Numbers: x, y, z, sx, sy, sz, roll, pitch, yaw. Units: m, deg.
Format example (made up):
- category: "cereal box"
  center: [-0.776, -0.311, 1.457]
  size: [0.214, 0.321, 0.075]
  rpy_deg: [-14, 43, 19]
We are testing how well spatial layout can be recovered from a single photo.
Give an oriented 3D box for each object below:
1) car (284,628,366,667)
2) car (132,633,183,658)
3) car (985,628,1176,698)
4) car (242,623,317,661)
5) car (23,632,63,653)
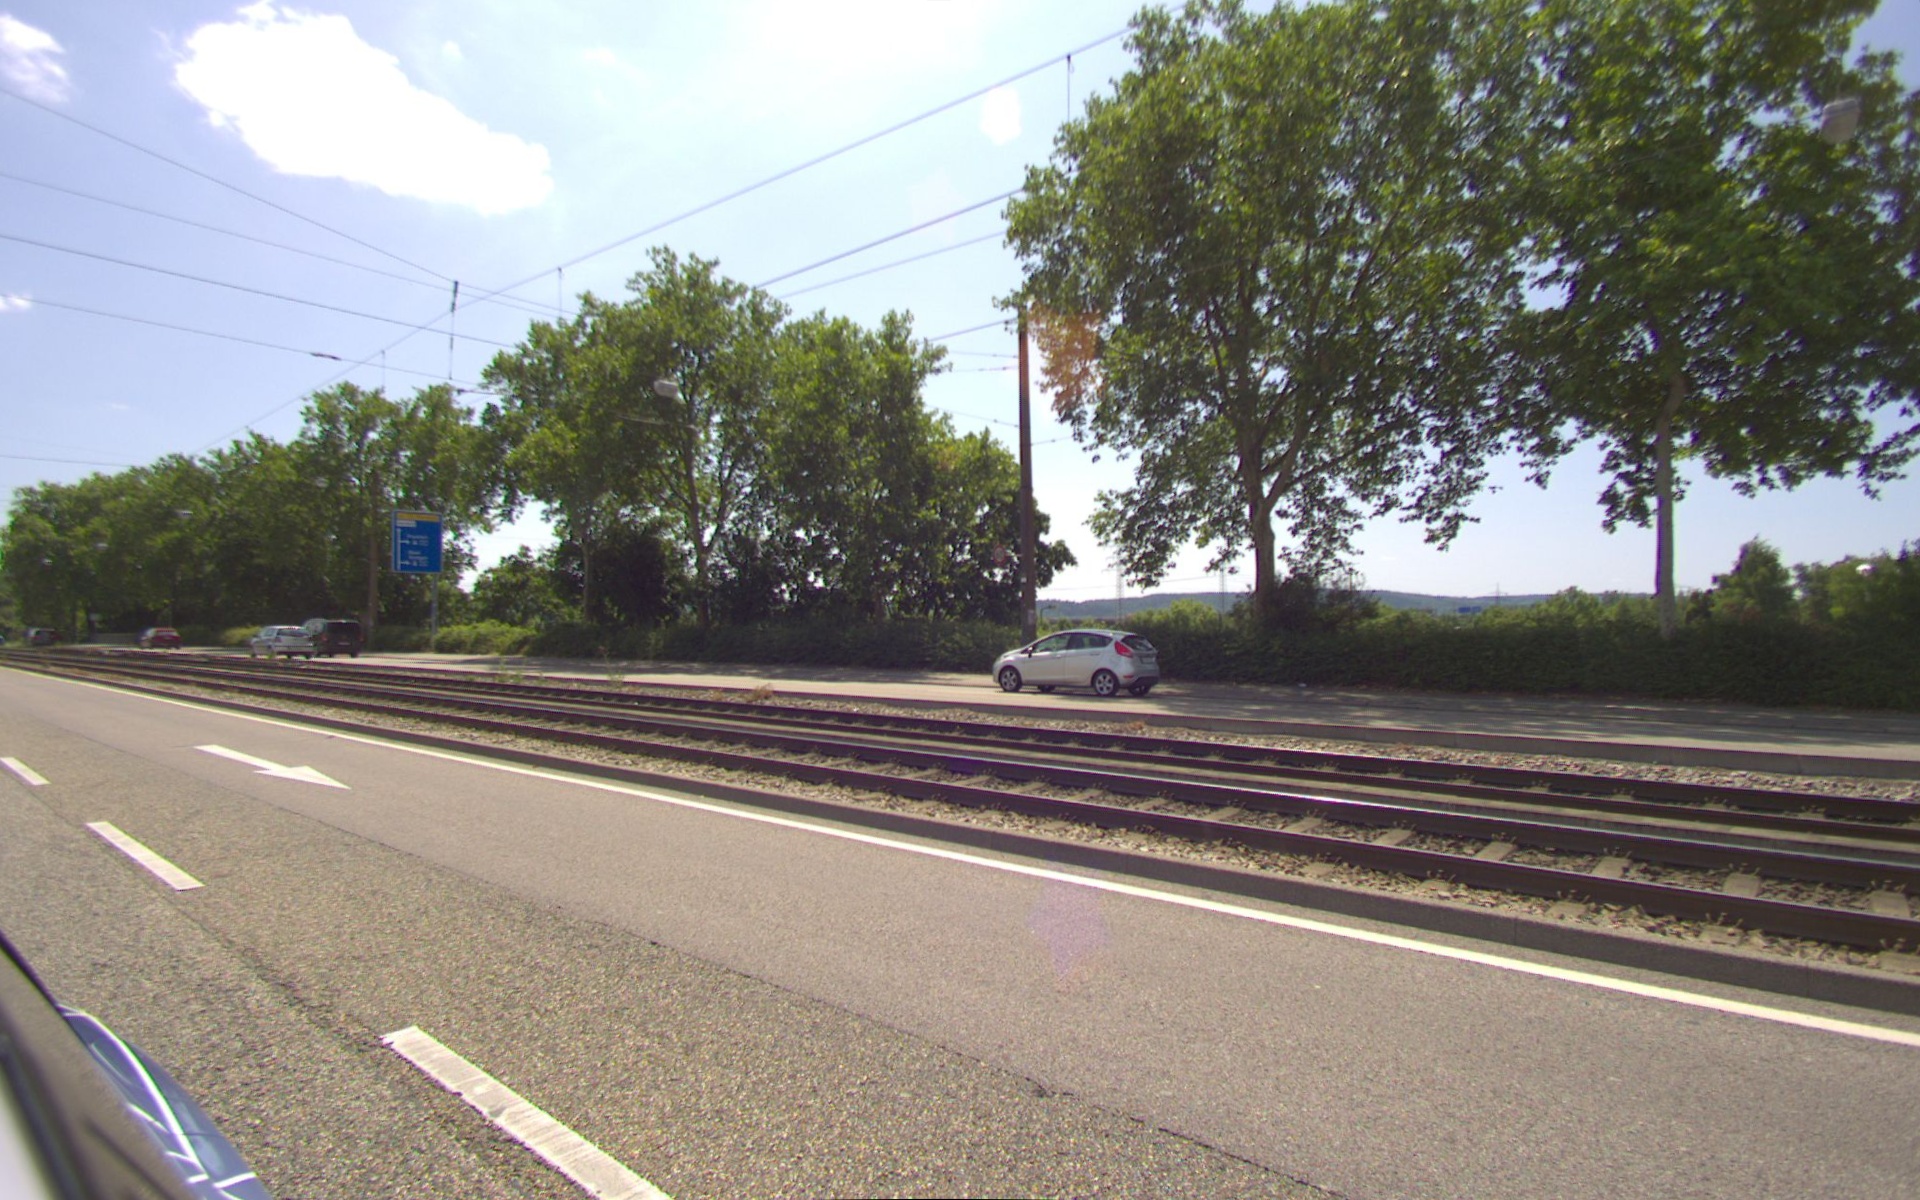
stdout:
- category: "car"
  center: [-31.989, 2.393, 50.938]
  size: [4.965, 1.845, 1.973]
  rpy_deg: [-2, -4, 40]
- category: "car"
  center: [-57.948, 3.290, 73.079]
  size: [4.464, 1.683, 1.973]
  rpy_deg: [-2, -4, 40]
- category: "car"
  center: [2.647, 1.377, 22.641]
  size: [3.879, 1.427, 1.804]
  rpy_deg: [-2, -4, 39]
- category: "car"
  center: [-30.340, 1.894, 45.095]
  size: [4.055, 1.596, 1.668]
  rpy_deg: [-2, -5, 40]
- category: "car"
  center: [-83.335, 3.836, 91.932]
  size: [4.965, 1.845, 1.973]
  rpy_deg: [-2, -4, 40]
